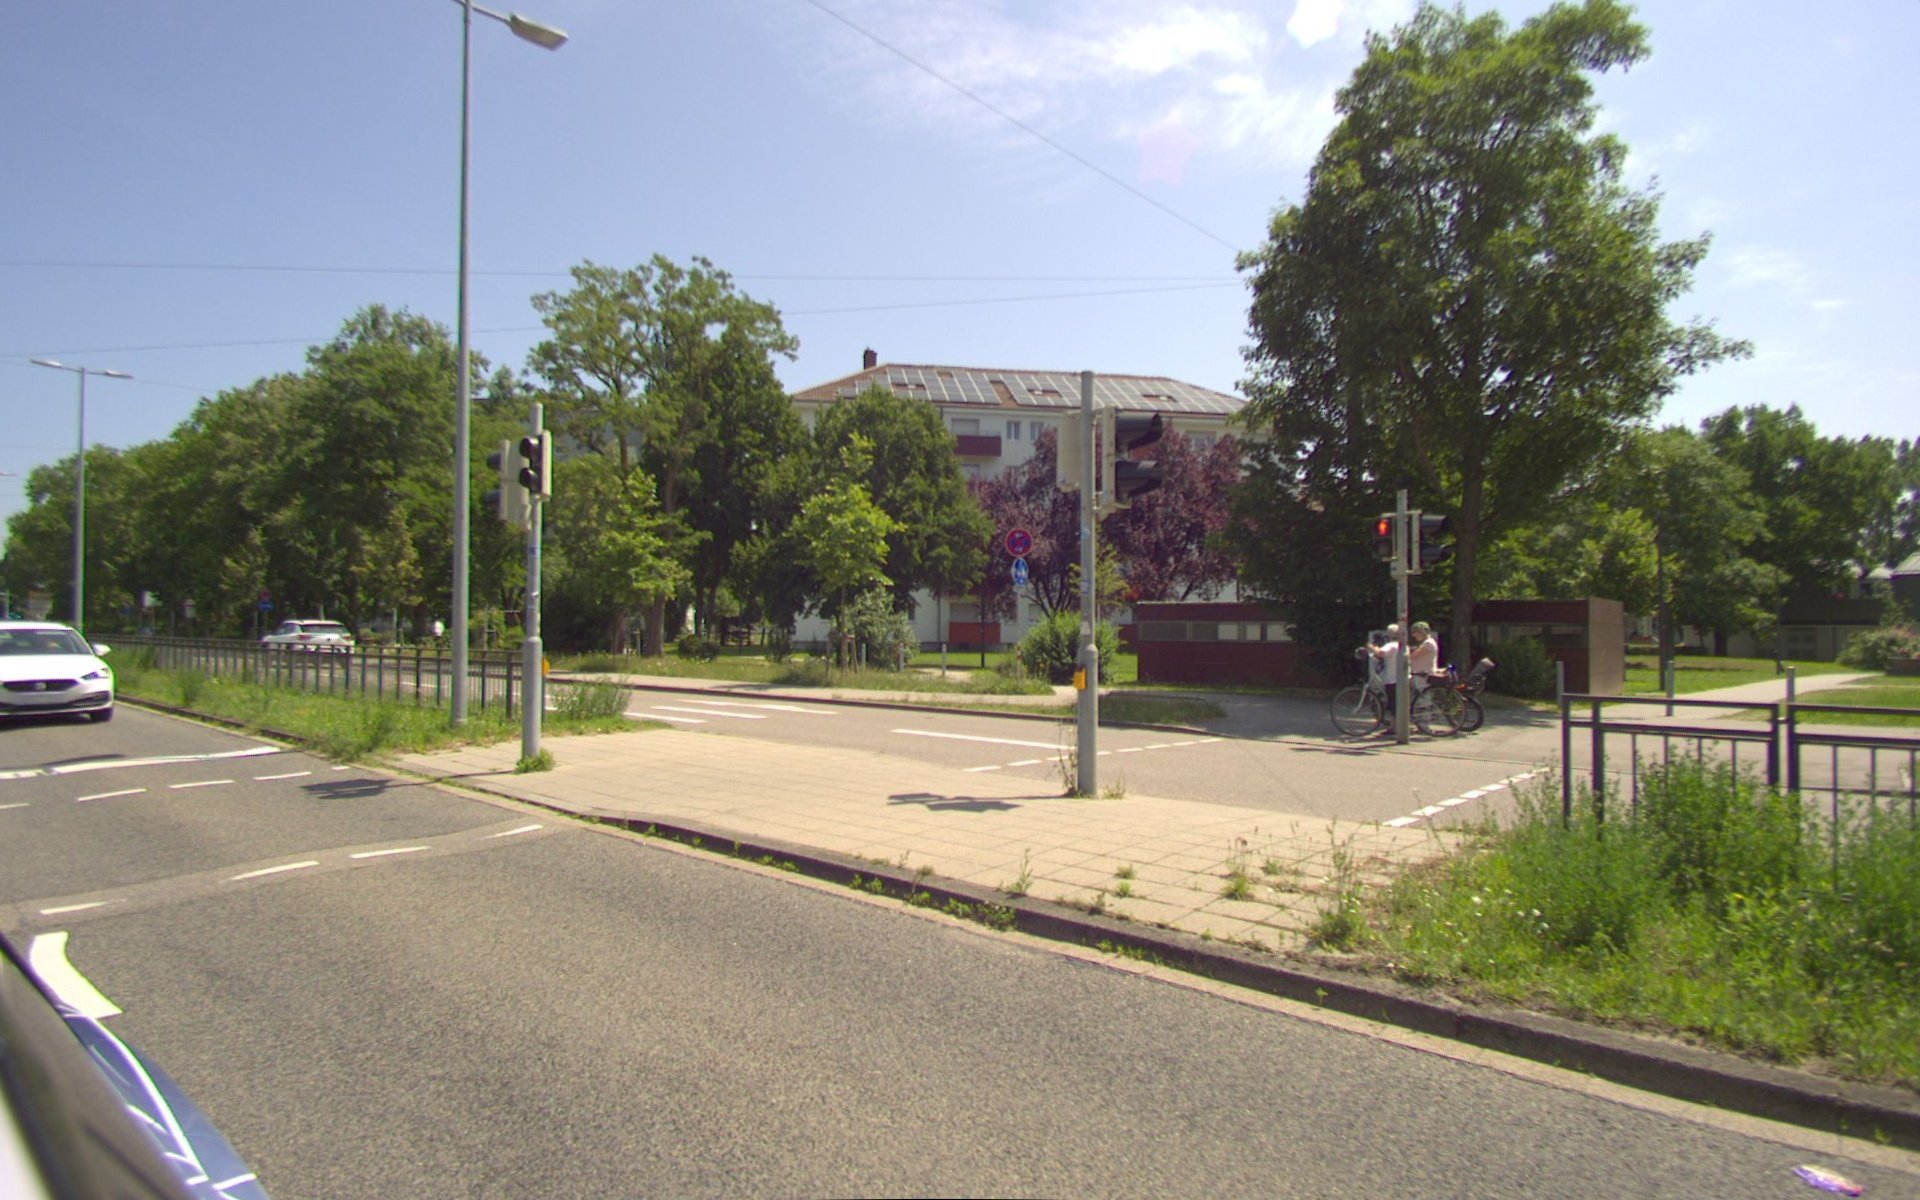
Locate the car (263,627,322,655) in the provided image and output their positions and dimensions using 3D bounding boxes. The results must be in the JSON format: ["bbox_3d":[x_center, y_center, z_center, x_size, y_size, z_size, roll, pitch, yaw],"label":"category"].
[{"bbox_3d":[-40.346,2.455,61.138,3.998,1.597,1.972,-2,-3,41],"label":"car"}]

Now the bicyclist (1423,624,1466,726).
[{"bbox_3d":[6.823,1.040,14.253,0.440,1.402,0.353,-2,-1,44],"label":"bicyclist"}]

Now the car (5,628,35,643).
[{"bbox_3d":[-98.563,3.757,106.118,4.080,1.566,1.749,-1,-3,40],"label":"car"}]

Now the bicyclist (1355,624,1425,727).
[{"bbox_3d":[5.874,1.011,13.830,0.755,1.356,0.539,-1,-3,41],"label":"bicyclist"}]

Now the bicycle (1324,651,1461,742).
[{"bbox_3d":[5.879,1.288,13.817,1.615,1.142,0.582,-1,-3,42],"label":"bicycle"}]

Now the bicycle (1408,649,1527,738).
[{"bbox_3d":[7.027,1.268,14.051,1.379,1.103,0.548,0,0,43],"label":"bicycle"}]

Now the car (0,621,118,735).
[{"bbox_3d":[-13.930,1.060,14.891,4.109,1.479,1.749,-1,-1,41],"label":"car"}]

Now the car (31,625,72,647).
[{"bbox_3d":[-75.590,2.960,84.179,4.475,1.772,1.841,-1,-1,39],"label":"car"}]

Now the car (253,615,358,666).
[{"bbox_3d":[-22.549,1.358,34.811,4.343,1.584,1.803,0,-2,39],"label":"car"}]
